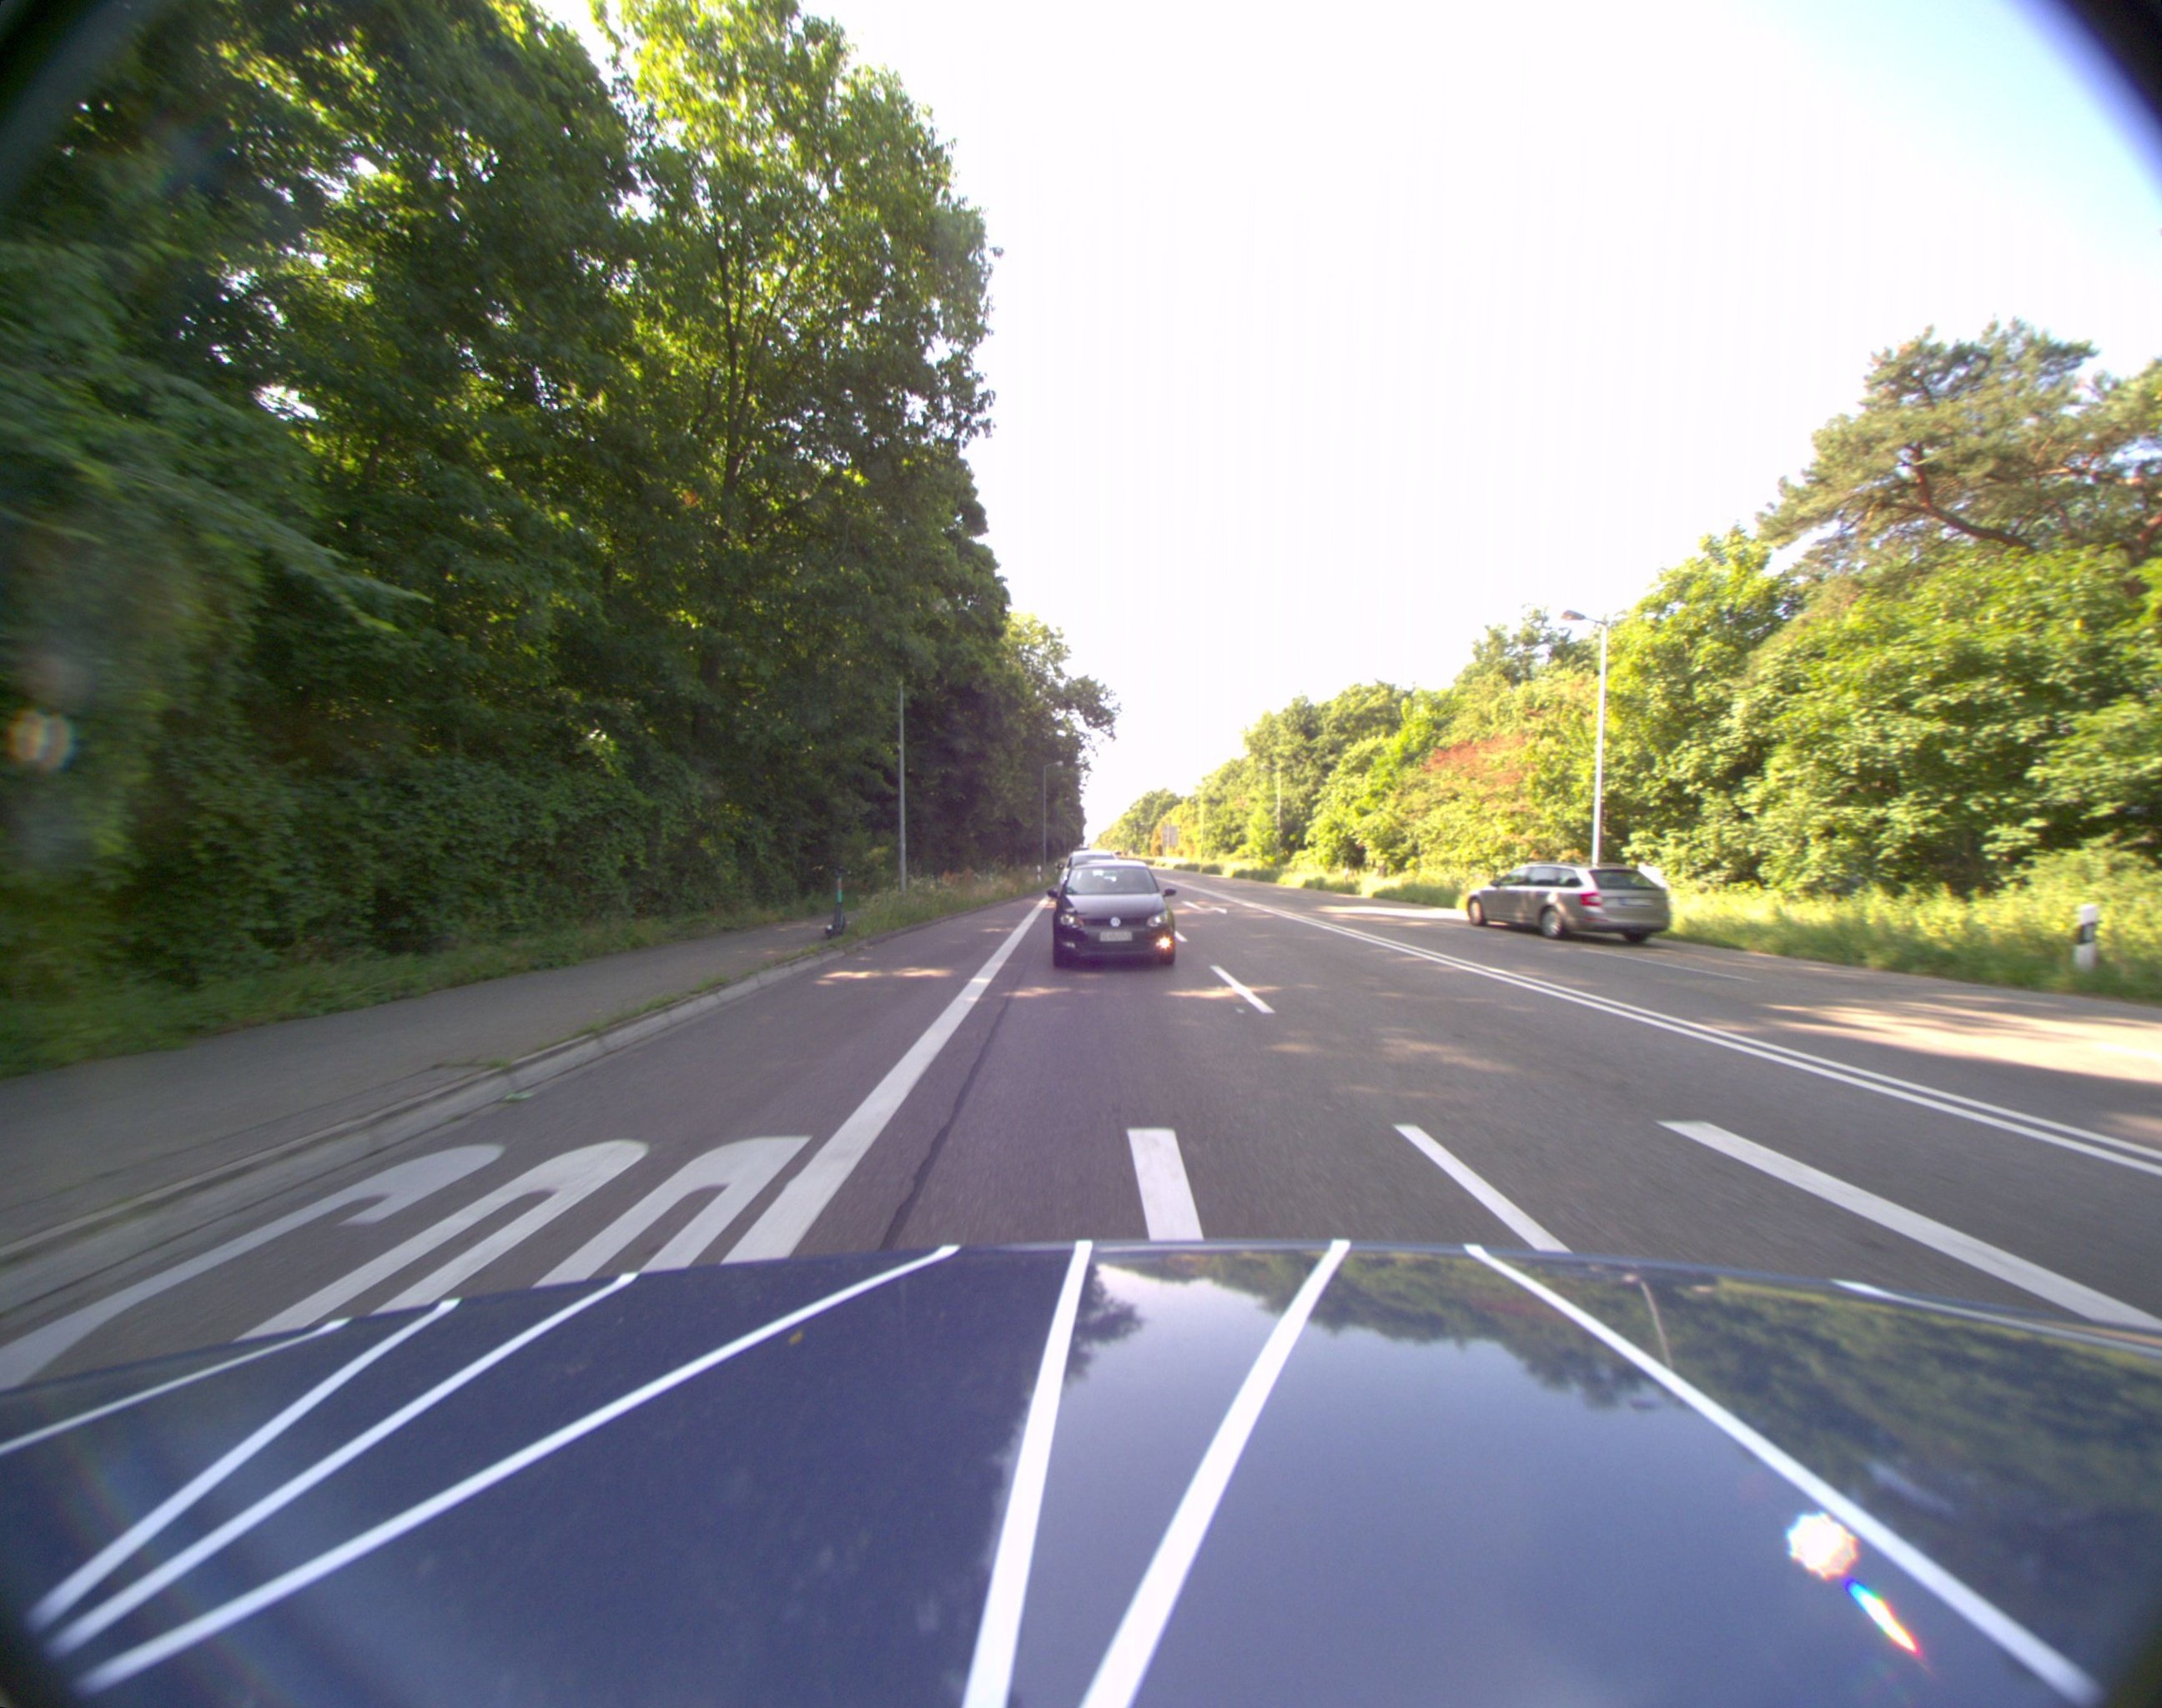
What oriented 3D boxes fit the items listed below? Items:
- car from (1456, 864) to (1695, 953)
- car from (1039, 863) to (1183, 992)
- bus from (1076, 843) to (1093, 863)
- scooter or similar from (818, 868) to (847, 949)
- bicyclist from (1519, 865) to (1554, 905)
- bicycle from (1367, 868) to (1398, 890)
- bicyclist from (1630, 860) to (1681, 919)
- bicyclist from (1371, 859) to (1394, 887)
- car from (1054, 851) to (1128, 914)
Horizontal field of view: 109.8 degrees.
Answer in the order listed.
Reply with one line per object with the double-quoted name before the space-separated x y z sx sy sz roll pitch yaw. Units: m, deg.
"car" 9.461 0.951 15.066 1.707 1.424 4.460 1 0 -2
"car" 0.537 0.900 11.008 1.650 1.422 4.056 -2 0 5
"bus" 0.581 -0.259 134.549 2.782 3.437 7.792 -1 1 0
"scooter or similar" -4.339 0.918 13.309 0.401 1.299 1.328 0 1 -14
"bicyclist" 14.897 0.994 24.869 0.702 1.256 0.727 -1 1 2
"bicycle" 14.596 1.193 36.849 0.677 0.951 1.913 -2 1 -2
"bicyclist" 14.892 0.913 19.705 0.612 1.458 0.944 -1 1 2
"bicyclist" 14.590 0.912 36.818 0.677 1.335 0.974 -2 1 -2
"car" 0.393 0.748 22.455 1.812 1.639 4.309 -1 0 5
